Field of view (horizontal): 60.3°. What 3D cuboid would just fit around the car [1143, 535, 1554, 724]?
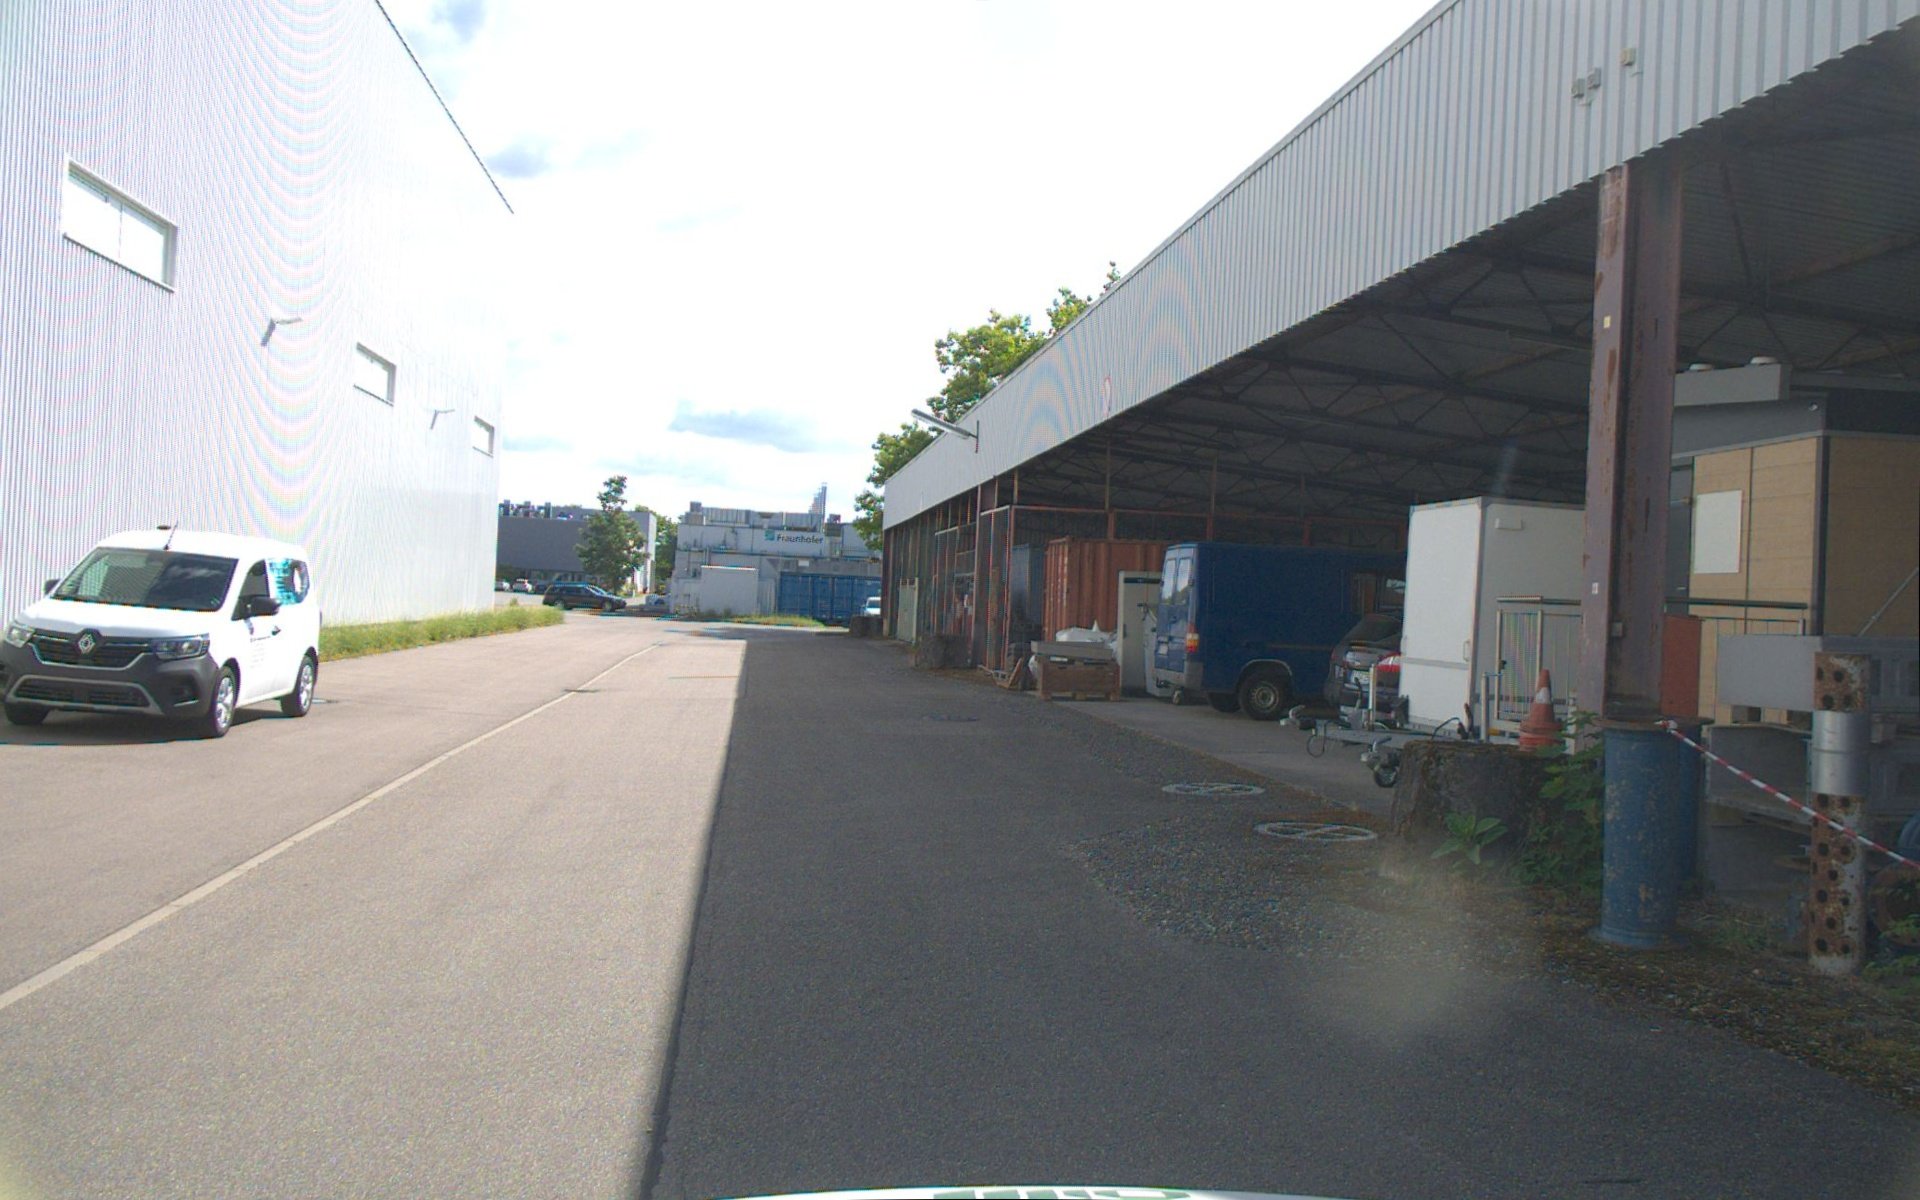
[{"bbox_3d":[5.327,0.413,23.002,5.119,2.337,2.080,2,-1,-9],"label":"car"}]

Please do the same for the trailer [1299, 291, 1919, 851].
[{"bbox_3d":[7.756,-0.090,11.874,10.097,3.353,2.671,1,0,-7],"label":"trailer"}]

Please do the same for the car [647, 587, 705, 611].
[{"bbox_3d":[-21.413,-0.066,124.851,4.198,1.596,1.984,3,-2,-8],"label":"car"}]

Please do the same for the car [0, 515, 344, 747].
[{"bbox_3d":[-7.562,0.242,15.973,1.892,1.821,4.590,4,0,-7],"label":"car"}]

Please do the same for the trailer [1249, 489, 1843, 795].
[{"bbox_3d":[4.864,0.356,14.012,4.455,2.376,1.686,1,0,-7],"label":"trailer"}]

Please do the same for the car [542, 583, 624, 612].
[{"bbox_3d":[-22.052,-0.129,96.788,4.444,1.468,1.984,3,-2,-8],"label":"car"}]

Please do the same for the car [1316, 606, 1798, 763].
[{"bbox_3d":[5.983,0.832,16.786,4.266,1.458,1.860,1,0,-11],"label":"car"}]

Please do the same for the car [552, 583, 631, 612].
[{"bbox_3d":[-22.237,-0.130,100.047,4.444,1.468,1.900,3,-2,-8],"label":"car"}]

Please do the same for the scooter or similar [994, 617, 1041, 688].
[{"bbox_3d":[0.964,0.875,28.216,0.510,1.154,1.589,2,-1,-8],"label":"scooter or similar"}]

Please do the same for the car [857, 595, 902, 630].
[{"bbox_3d":[-4.239,0.639,86.596,1.944,1.621,4.333,3,1,-8],"label":"car"}]

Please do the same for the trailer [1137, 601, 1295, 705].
[{"bbox_3d":[3.898,0.799,25.426,2.053,1.488,1.640,2,-1,-5],"label":"trailer"}]

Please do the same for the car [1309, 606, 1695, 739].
[{"bbox_3d":[6.455,0.843,19.934,4.030,1.479,1.847,1,0,-8],"label":"car"}]

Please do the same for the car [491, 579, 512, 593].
[{"bbox_3d":[-52.647,-1.596,190.073,1.843,1.564,4.026,1,0,-10],"label":"car"}]

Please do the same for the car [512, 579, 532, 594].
[{"bbox_3d":[-50.413,-1.555,190.611,1.843,1.564,4.026,1,0,-10],"label":"car"}]
